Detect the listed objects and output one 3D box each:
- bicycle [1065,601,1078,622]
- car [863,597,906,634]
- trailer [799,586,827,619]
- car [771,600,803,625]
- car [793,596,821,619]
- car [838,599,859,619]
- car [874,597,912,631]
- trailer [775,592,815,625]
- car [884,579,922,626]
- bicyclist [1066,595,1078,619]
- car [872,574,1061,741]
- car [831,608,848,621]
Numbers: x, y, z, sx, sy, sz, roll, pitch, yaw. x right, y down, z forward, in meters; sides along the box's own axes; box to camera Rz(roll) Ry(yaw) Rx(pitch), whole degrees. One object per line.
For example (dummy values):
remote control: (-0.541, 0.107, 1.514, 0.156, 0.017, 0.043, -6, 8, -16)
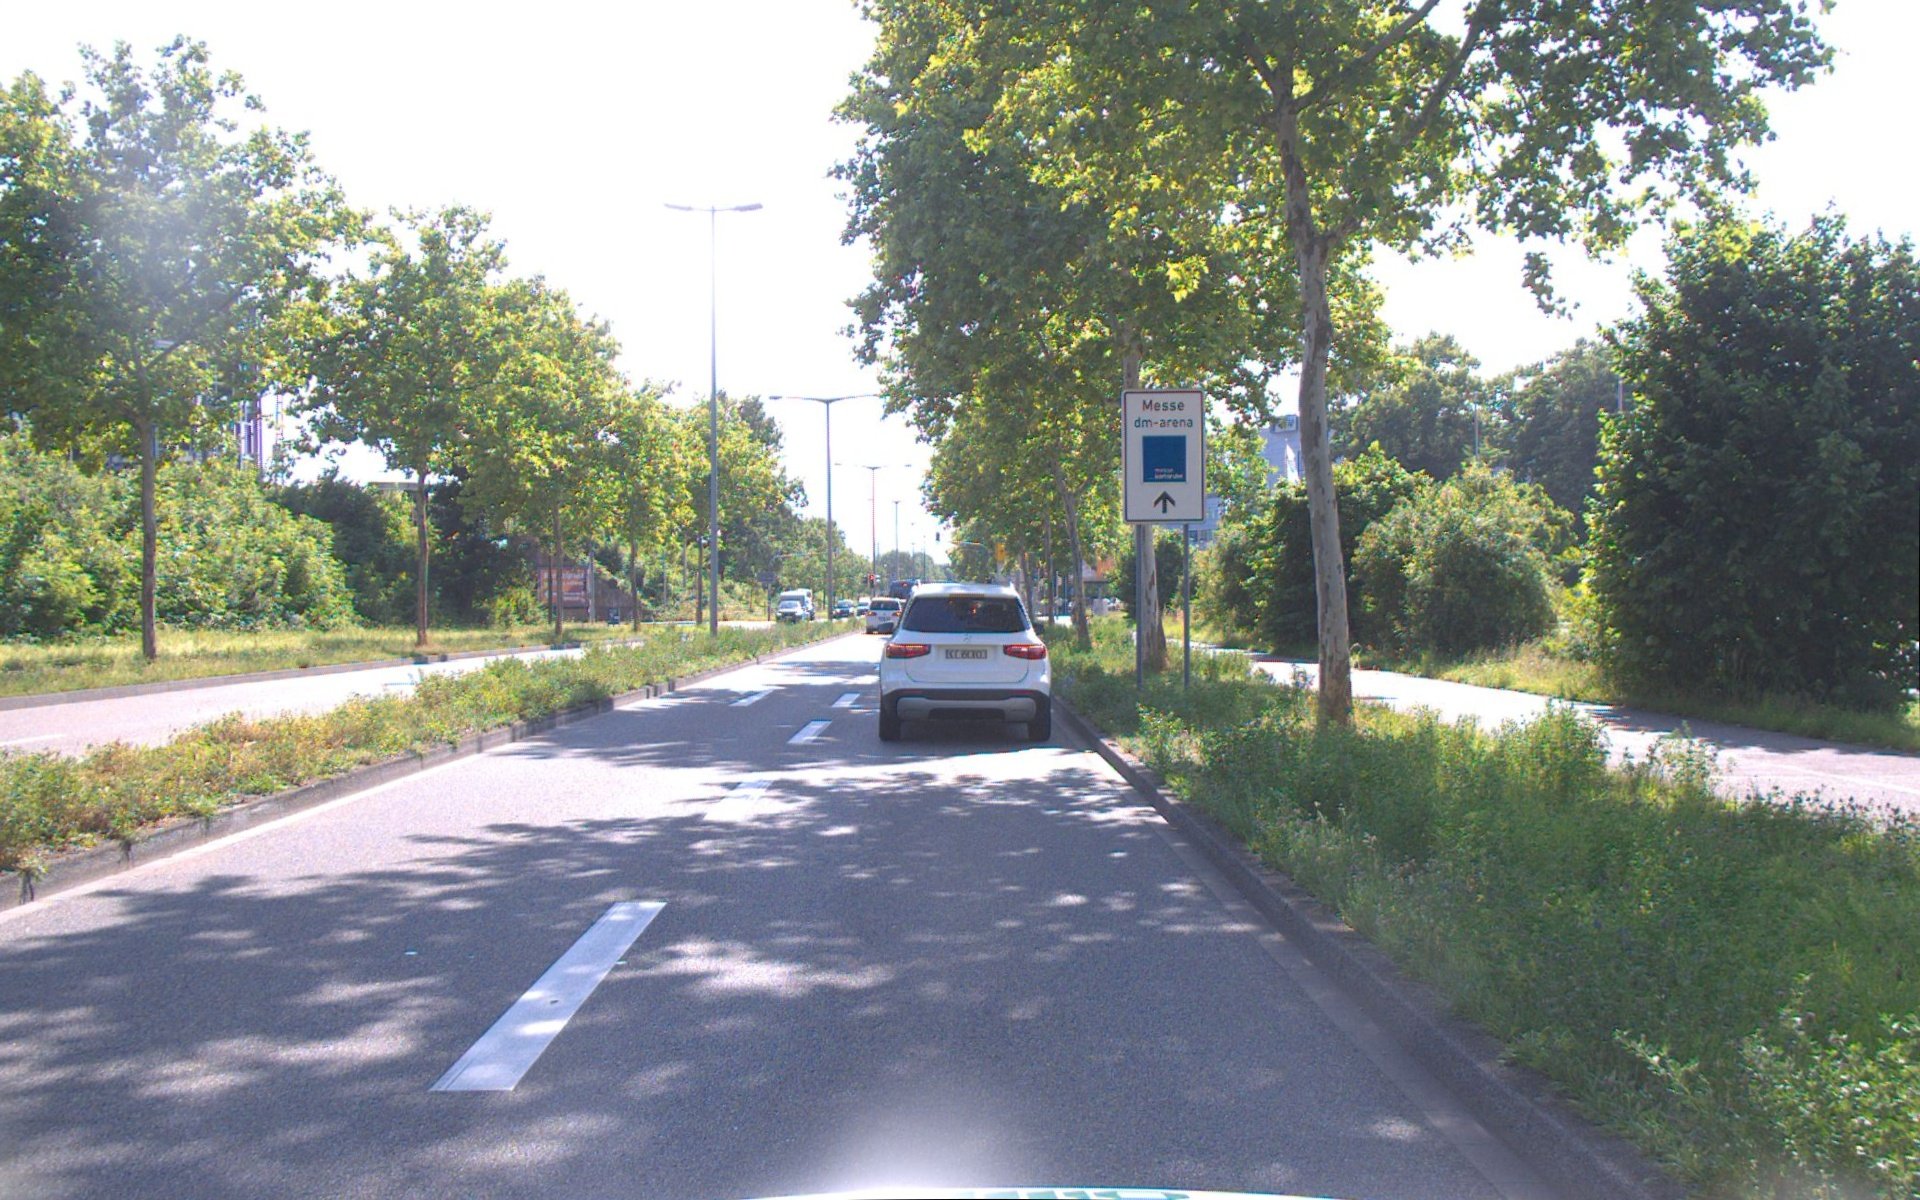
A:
bicycle: (6.897, 0.718, 102.320, 0.708, 1.321, 2.095, 1, -1, 1)
car: (-3.480, 0.711, 76.896, 1.735, 1.676, 4.352, 0, -1, 1)
trailer: (-12.559, 0.234, 141.627, 1.841, 2.792, 4.828, 1, -1, 1)
car: (-11.891, 0.868, 113.932, 1.680, 1.650, 4.361, 0, -1, 1)
car: (-12.617, 0.652, 136.650, 1.728, 1.821, 5.376, 1, 0, 1)
car: (-10.619, 0.875, 157.771, 1.695, 1.841, 4.232, 1, -1, 1)
car: (-3.367, 0.731, 83.917, 1.735, 1.676, 4.084, 0, -1, 1)
trailer: (-11.810, 0.621, 118.915, 2.261, 2.305, 5.538, 0, -1, 1)
car: (-3.401, 0.160, 100.129, 2.038, 2.703, 4.874, 1, -1, 1)
bicyclist: (6.917, 0.425, 102.319, 0.689, 1.503, 1.009, 1, -1, 0)
car: (-0.037, 0.584, 18.437, 1.817, 1.635, 3.997, 1, 0, -4)
car: (-13.286, 1.590, 182.995, 1.666, 1.389, 3.645, 0, 0, -1)
